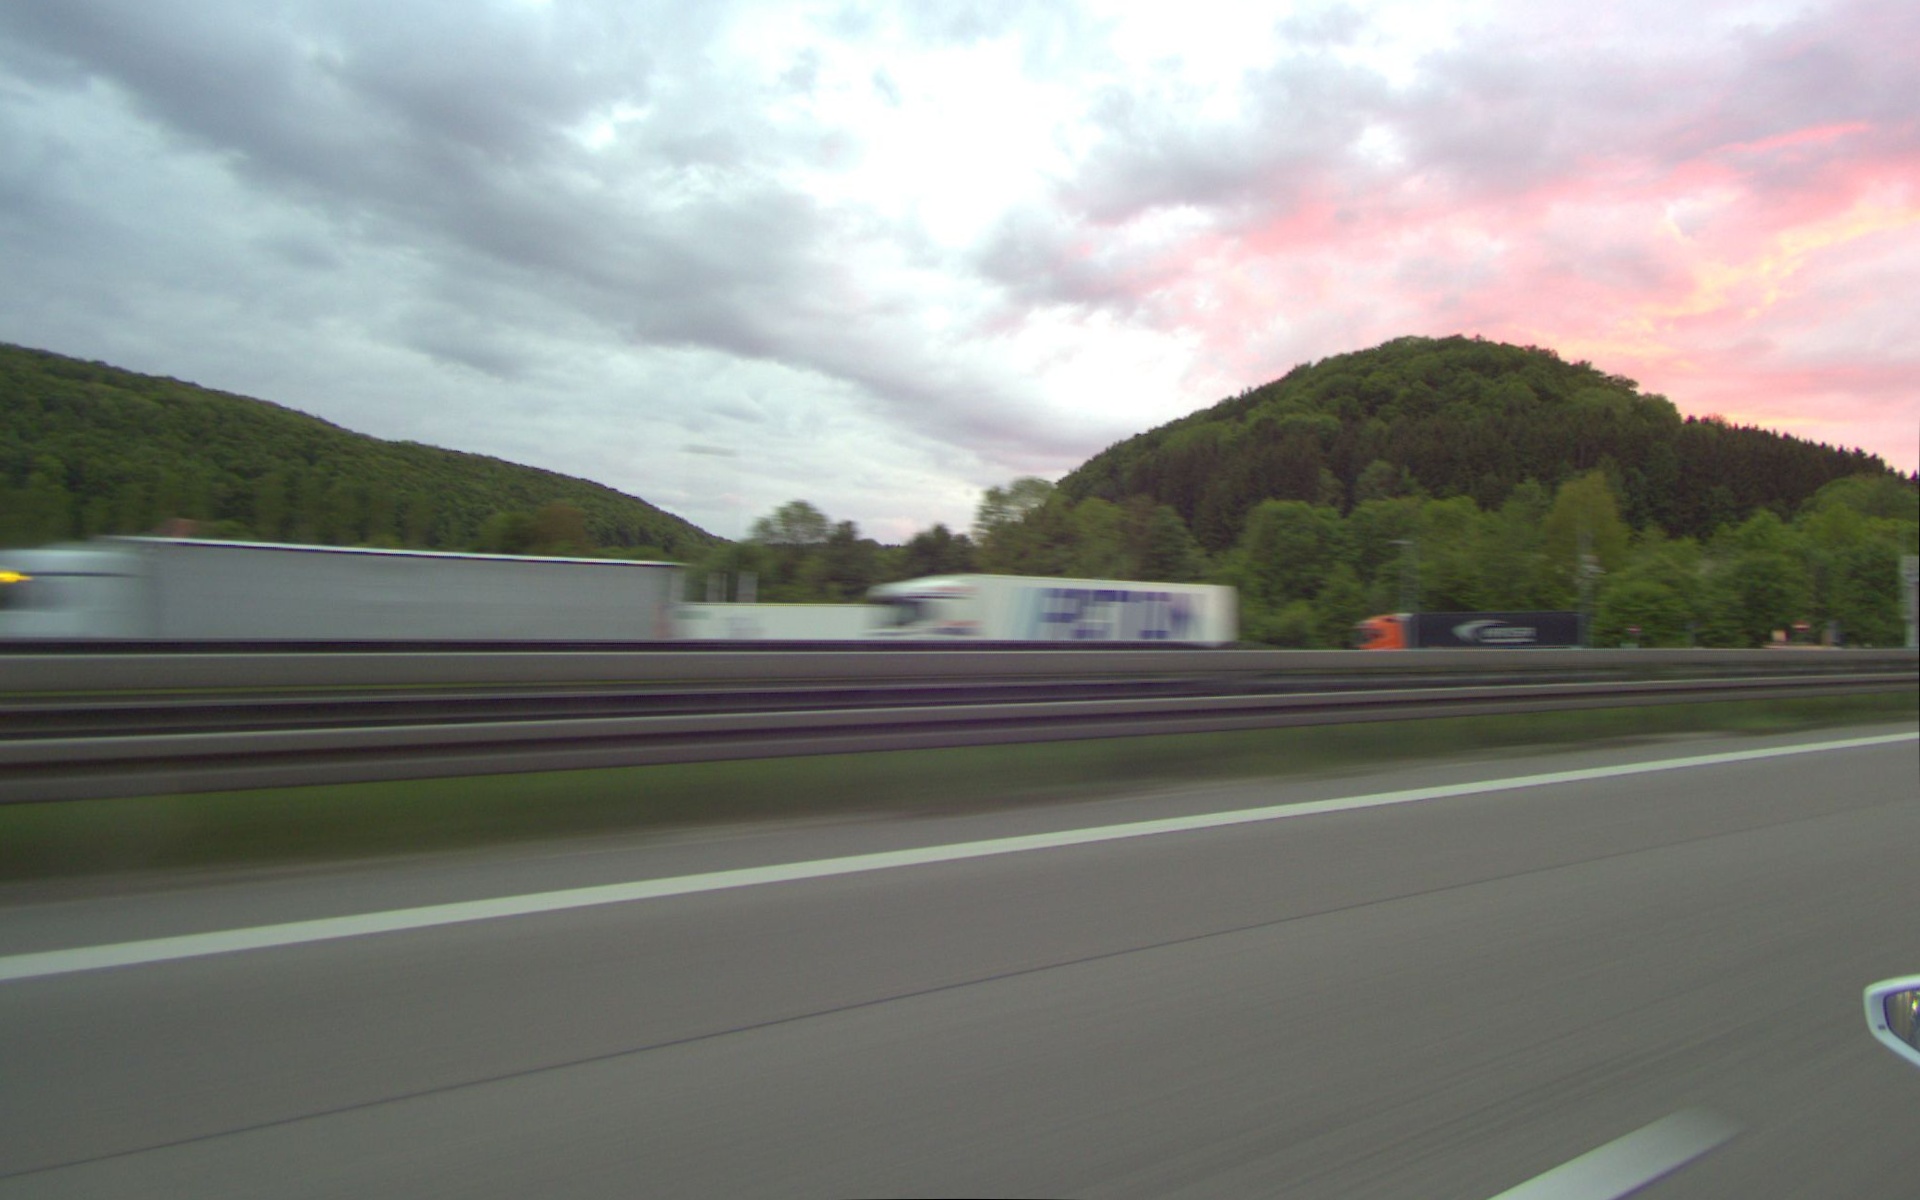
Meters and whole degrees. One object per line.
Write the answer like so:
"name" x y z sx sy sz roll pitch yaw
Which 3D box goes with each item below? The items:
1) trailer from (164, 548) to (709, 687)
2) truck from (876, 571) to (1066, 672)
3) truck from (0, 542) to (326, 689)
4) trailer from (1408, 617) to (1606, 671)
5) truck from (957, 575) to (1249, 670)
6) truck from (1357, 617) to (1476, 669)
"trailer" -14.617 0.601 29.762 13.684 3.470 2.860 1 -1 -30
"truck" 0.493 0.809 37.546 6.656 3.470 2.856 2 -1 -34
"truck" -20.685 0.437 26.326 6.644 3.470 2.861 1 -1 -29
"trailer" 40.877 3.270 75.333 13.078 3.727 3.072 1 -1 0
"truck" 6.305 0.981 41.534 13.649 3.470 2.855 2 -1 -35
"truck" 34.151 3.179 75.396 7.526 3.727 3.014 1 -1 1
